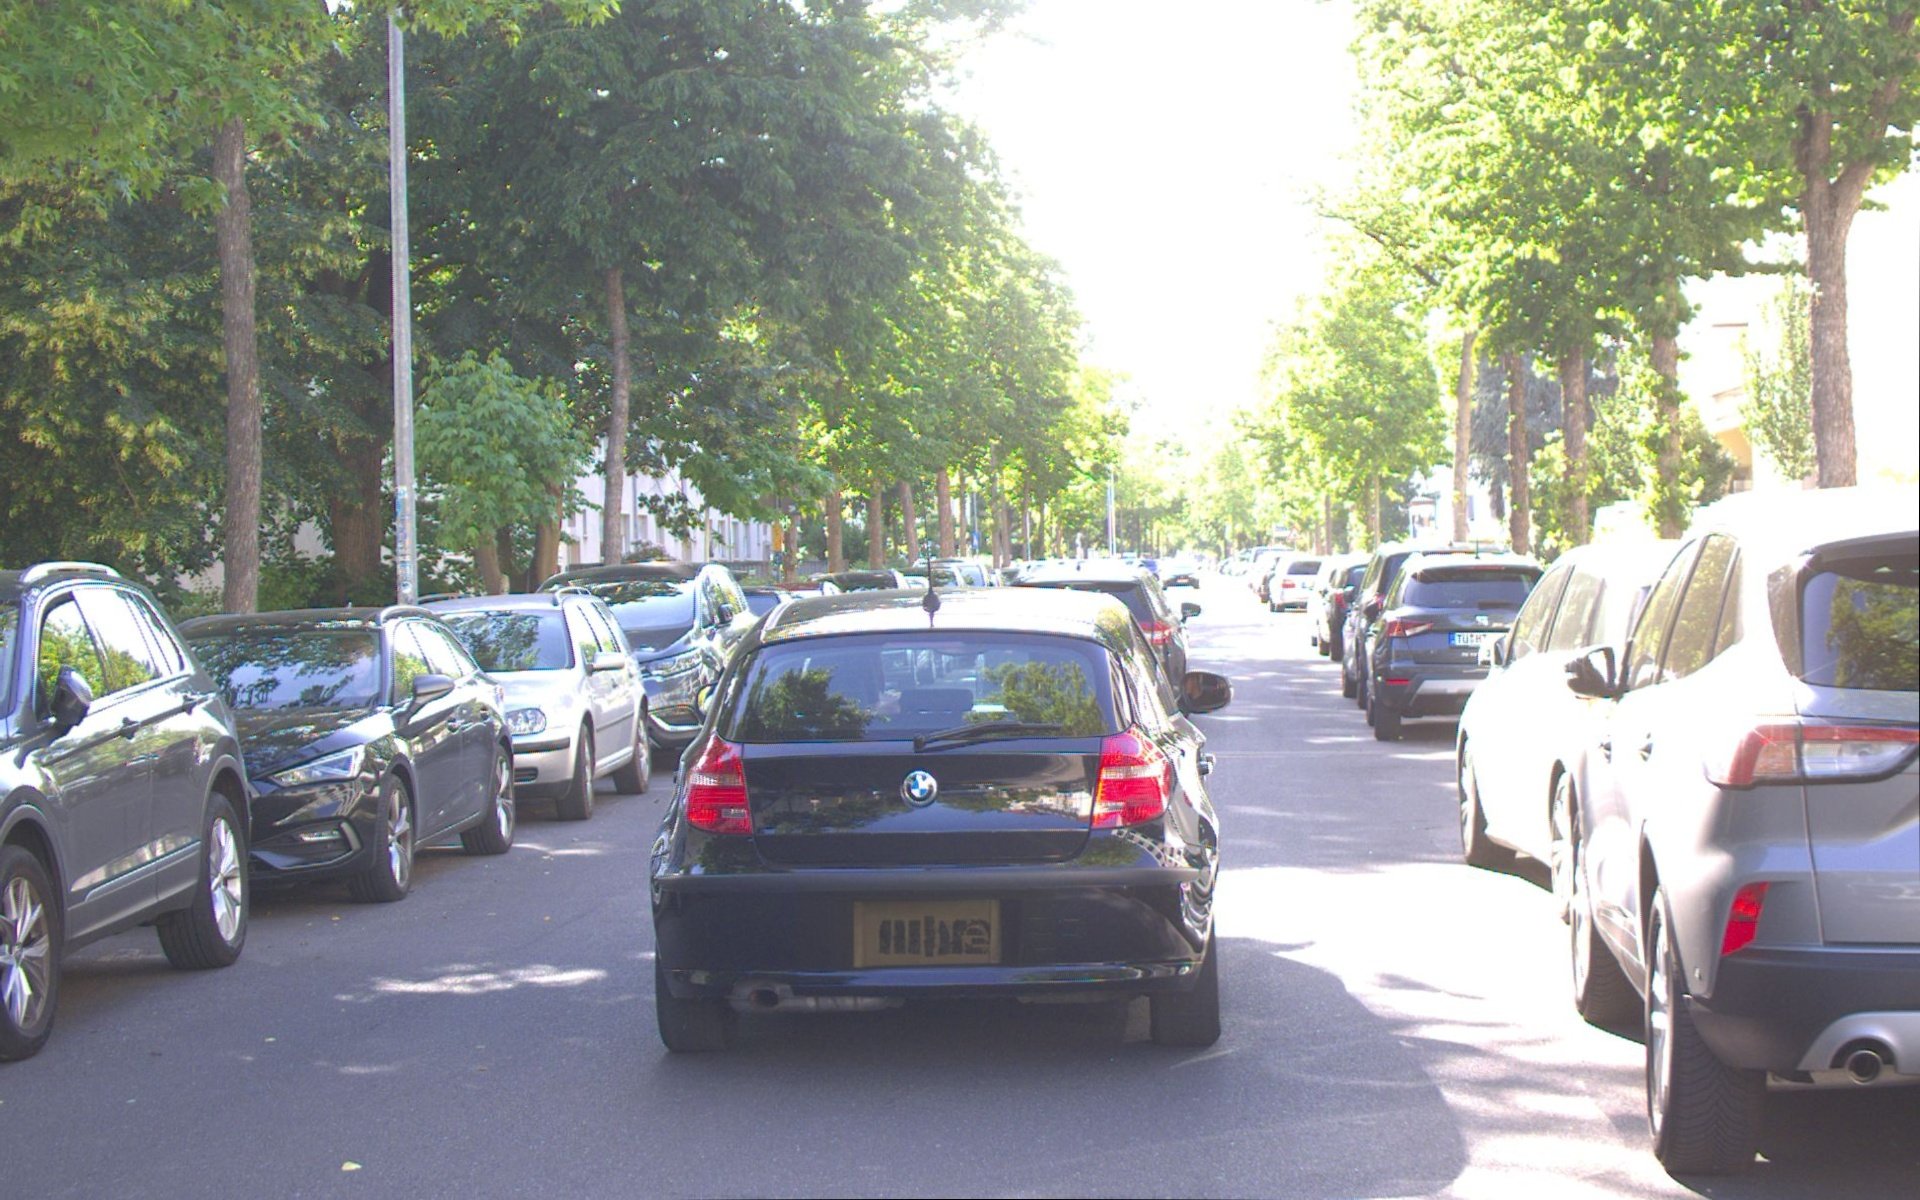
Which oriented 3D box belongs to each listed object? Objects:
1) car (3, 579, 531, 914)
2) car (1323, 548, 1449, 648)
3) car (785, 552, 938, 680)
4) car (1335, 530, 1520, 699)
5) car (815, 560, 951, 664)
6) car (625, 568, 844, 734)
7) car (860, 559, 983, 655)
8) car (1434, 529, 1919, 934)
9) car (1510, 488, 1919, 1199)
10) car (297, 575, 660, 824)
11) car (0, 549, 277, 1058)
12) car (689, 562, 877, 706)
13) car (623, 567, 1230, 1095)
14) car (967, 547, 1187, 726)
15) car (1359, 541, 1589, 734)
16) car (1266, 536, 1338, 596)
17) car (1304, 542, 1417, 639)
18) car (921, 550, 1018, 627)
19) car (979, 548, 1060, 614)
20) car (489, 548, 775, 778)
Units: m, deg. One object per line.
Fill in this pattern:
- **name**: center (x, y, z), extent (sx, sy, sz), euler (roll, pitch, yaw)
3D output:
- **car**: center (-3.436, 0.662, 17.787), extent (1.612, 1.422, 4.058), euler (-3, 1, 4)
- **car**: center (6.219, -0.056, 50.484), extent (1.721, 1.374, 3.850), euler (1, 1, 5)
- **car**: center (-1.261, 0.182, 45.456), extent (1.612, 1.538, 3.865), euler (-3, 1, 4)
- **car**: center (4.762, 0.107, 35.437), extent (1.721, 1.635, 3.850), euler (1, 1, 5)
- **car**: center (-1.089, 0.147, 50.389), extent (1.612, 1.387, 3.865), euler (-3, 1, 4)
- **car**: center (-2.167, 0.456, 33.973), extent (1.612, 1.447, 3.865), euler (-3, 1, 4)
- **car**: center (-0.581, 0.086, 54.888), extent (1.612, 1.387, 3.865), euler (-3, 1, 4)
- **car**: center (3.189, 0.470, 15.059), extent (1.693, 1.518, 4.000), euler (-1, 1, 1)
- **car**: center (2.568, 0.554, 9.398), extent (1.848, 1.625, 4.409), euler (-1, 0, 6)
- **car**: center (-3.106, 0.597, 22.871), extent (1.612, 1.422, 3.725), euler (-3, 1, 4)
- **car**: center (-3.814, 0.655, 12.491), extent (1.612, 1.606, 4.229), euler (-3, 1, 2)
- **car**: center (-1.937, 0.340, 38.579), extent (1.612, 1.447, 3.865), euler (-3, 1, 4)
- **car**: center (-0.094, 0.632, 11.337), extent (1.649, 1.392, 3.412), euler (-2, 1, 0)
- **car**: center (1.106, 0.276, 30.715), extent (1.650, 1.421, 4.000), euler (-2, 1, 6)
- **car**: center (4.332, 0.264, 29.447), extent (1.721, 1.523, 3.999), euler (1, 1, 5)
- **car**: center (9.012, -0.913, 90.461), extent (1.721, 1.475, 3.850), euler (-2, 1, 7)
- **car**: center (6.405, -0.181, 55.271), extent (1.721, 1.475, 3.850), euler (1, 1, 5)
- **car**: center (0.222, -0.239, 67.635), extent (1.612, 1.387, 3.865), euler (-3, 1, 4)
- **car**: center (1.389, -0.455, 79.009), extent (1.612, 1.387, 3.865), euler (-3, 1, 4)
- **car**: center (-2.612, 0.454, 28.287), extent (1.612, 1.673, 4.234), euler (-3, 1, 4)
